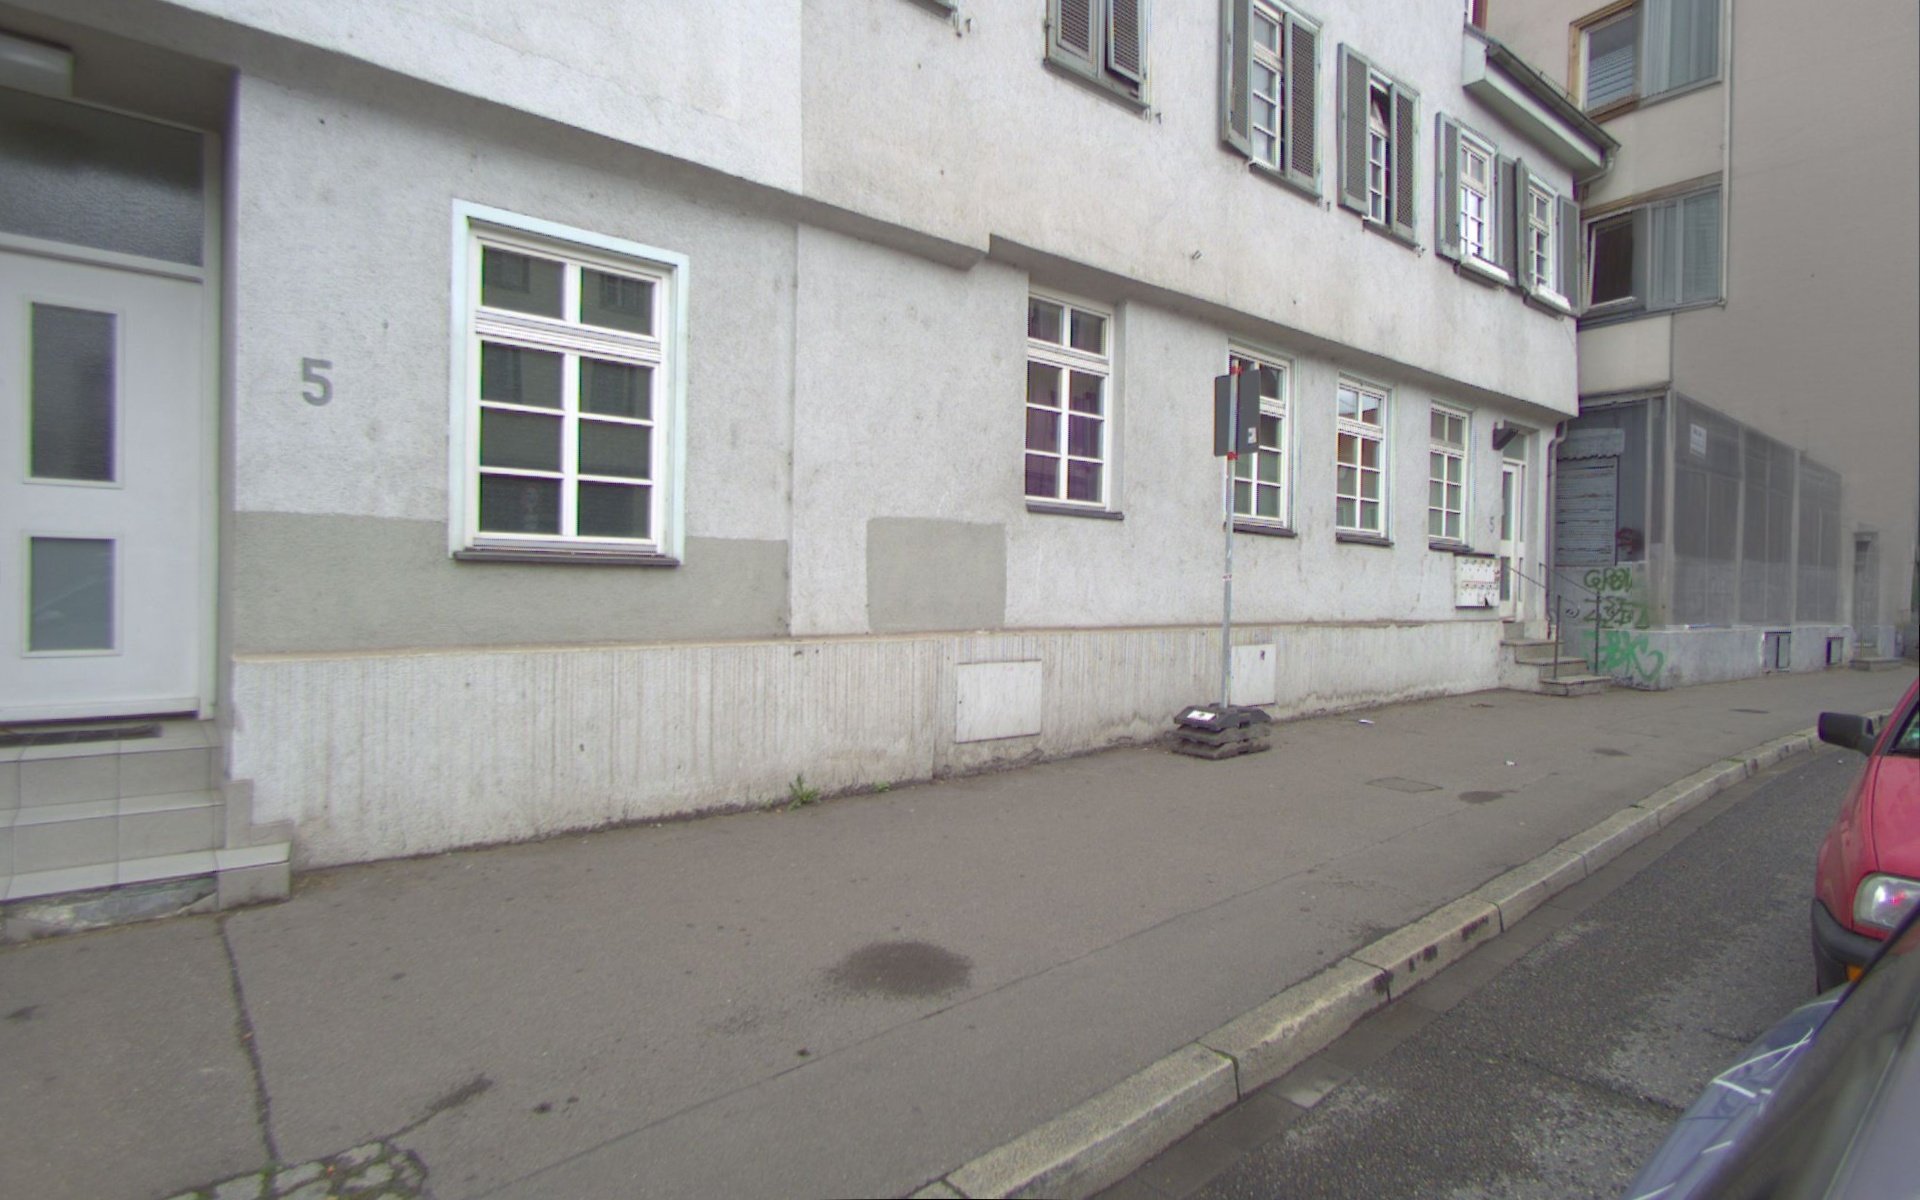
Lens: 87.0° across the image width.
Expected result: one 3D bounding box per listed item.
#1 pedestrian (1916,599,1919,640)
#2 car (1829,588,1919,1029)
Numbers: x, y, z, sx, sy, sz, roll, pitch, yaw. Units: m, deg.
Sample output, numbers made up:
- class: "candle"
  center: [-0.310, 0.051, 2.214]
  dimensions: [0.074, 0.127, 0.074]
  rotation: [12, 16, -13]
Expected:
- class: "pedestrian"
  center: [16.594, -0.146, 16.772]
  dimensions: [0.792, 1.687, 0.759]
  rotation: [1, 3, -27]
- class: "car"
  center: [5.046, 0.701, 4.144]
  dimensions: [3.950, 1.445, 1.684]
  rotation: [0, 1, -41]
